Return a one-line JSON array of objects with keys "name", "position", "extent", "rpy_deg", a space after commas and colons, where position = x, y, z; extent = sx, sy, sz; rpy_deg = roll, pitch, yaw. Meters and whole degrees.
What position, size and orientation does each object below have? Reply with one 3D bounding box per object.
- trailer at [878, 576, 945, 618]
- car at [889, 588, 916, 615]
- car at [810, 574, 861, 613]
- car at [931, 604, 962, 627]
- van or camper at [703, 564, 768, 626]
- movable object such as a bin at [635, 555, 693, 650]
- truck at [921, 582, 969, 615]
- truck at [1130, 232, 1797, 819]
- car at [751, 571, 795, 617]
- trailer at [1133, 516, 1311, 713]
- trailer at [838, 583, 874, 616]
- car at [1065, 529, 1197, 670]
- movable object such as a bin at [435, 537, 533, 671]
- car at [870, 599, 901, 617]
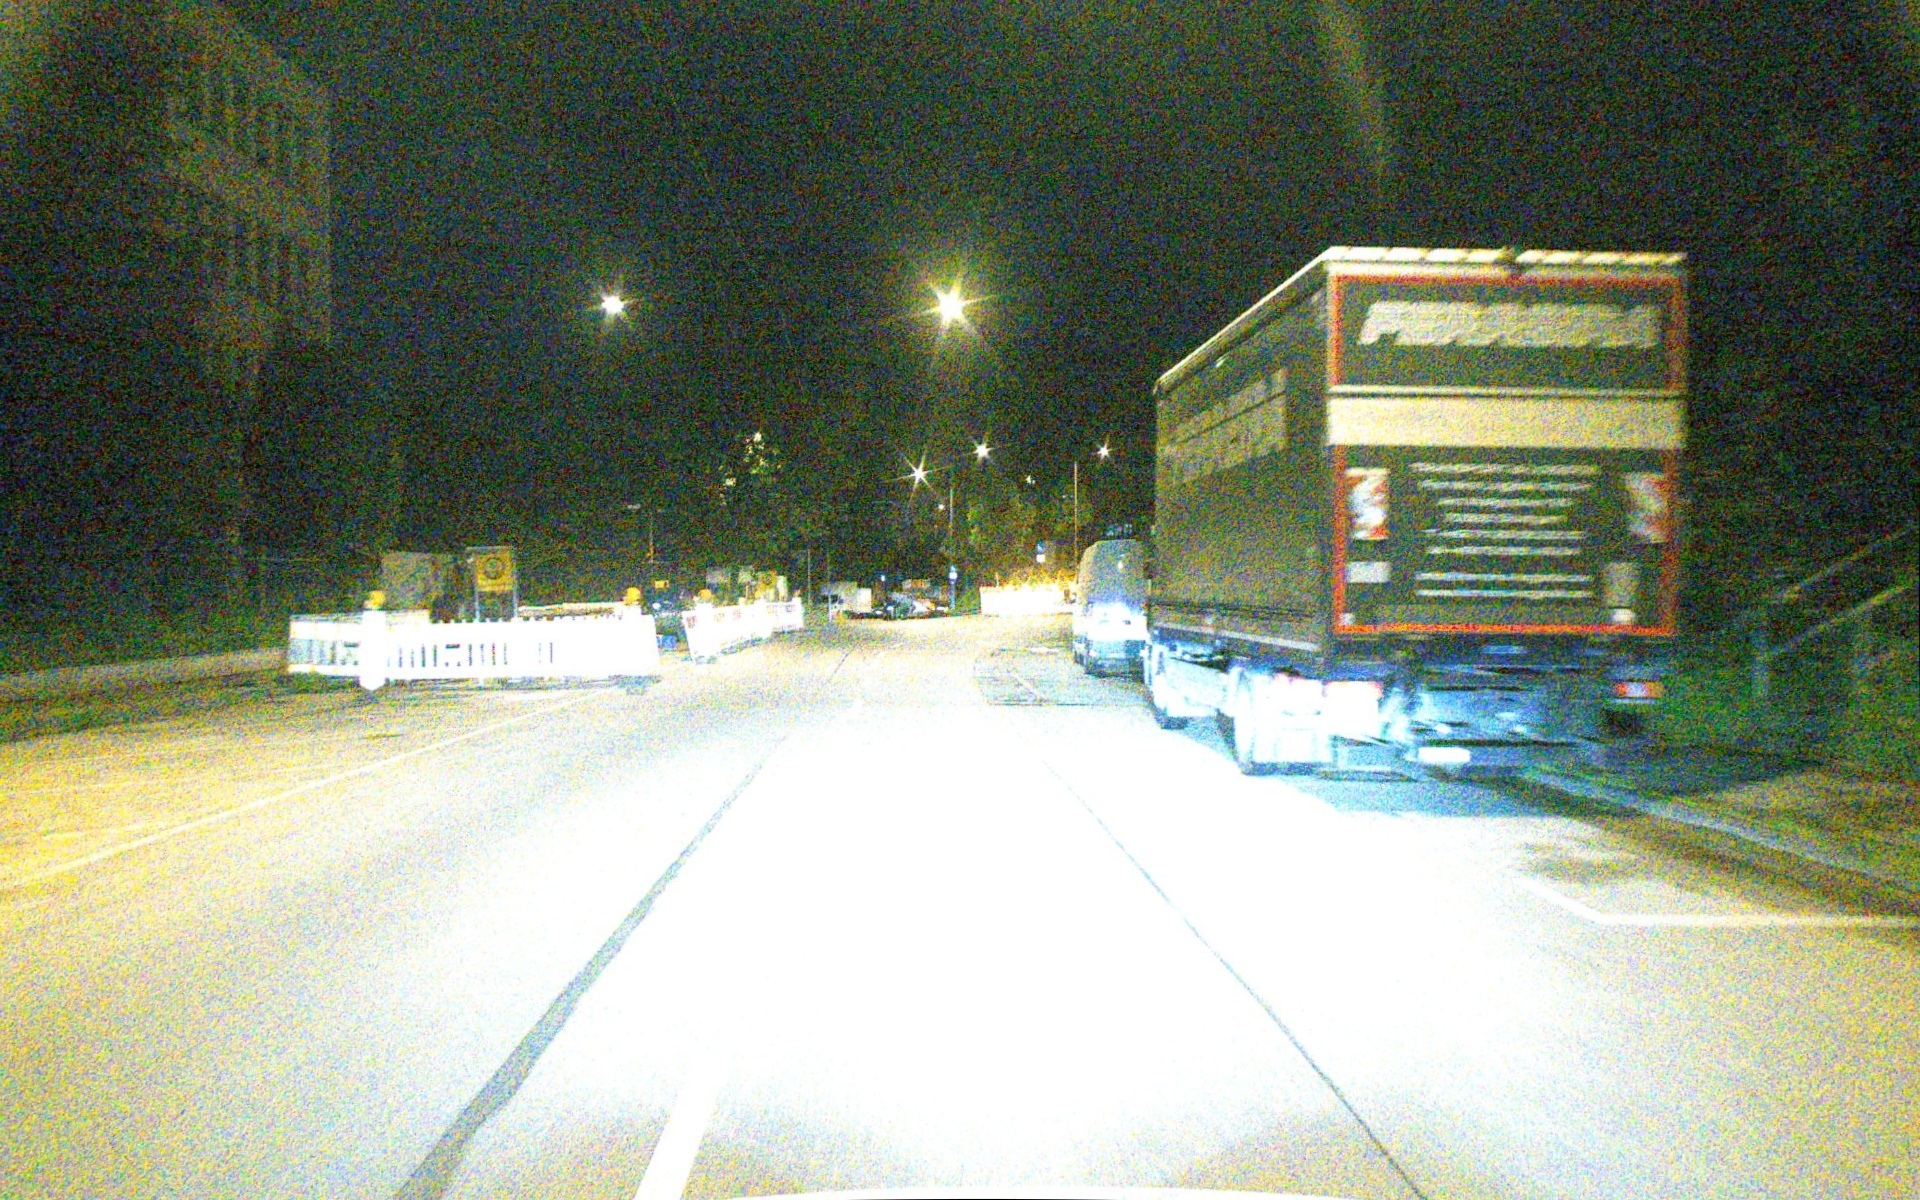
[{"name": "trailer", "position": [-2.770, -0.132, 92.848], "extent": [1.542, 2.198, 5.171], "rpy_deg": [-2, -1, -29]}, {"name": "car", "position": [-3.757, 0.105, 107.781], "extent": [1.686, 1.690, 3.998], "rpy_deg": [1, -1, -1]}, {"name": "car", "position": [-10.707, -0.538, 142.802], "extent": [2.465, 3.226, 7.144], "rpy_deg": [-2, 0, 11]}, {"name": "car", "position": [-1.104, 1.281, 136.327], "extent": [1.684, 1.853, 4.003], "rpy_deg": [0, -1, 13]}, {"name": "van or camper", "position": [-12.103, -0.243, 89.590], "extent": [2.468, 3.148, 7.444], "rpy_deg": [-2, 0, -1]}, {"name": "movable object such as a bin", "position": [-9.259, 0.056, 51.932], "extent": [1.541, 2.781, 3.694], "rpy_deg": [-3, 1, -9]}, {"name": "truck", "position": [-1.554, -0.159, 178.669], "extent": [1.953, 3.463, 8.979], "rpy_deg": [1, 1, 22]}, {"name": "truck", "position": [3.898, -0.491, 15.836], "extent": [3.257, 3.936, 9.324], "rpy_deg": [0, 0, -2]}, {"name": "car", "position": [-12.846, -0.351, 114.117], "extent": [2.469, 2.978, 7.196], "rpy_deg": [-2, 0, -3]}, {"name": "trailer", "position": [3.631, 0.161, 23.764], "extent": [1.599, 2.517, 5.026], "rpy_deg": [1, 1, -2]}, {"name": "trailer", "position": [-9.355, -0.067, 148.893], "extent": [1.951, 2.862, 4.707], "rpy_deg": [-1, 0, 13]}, {"name": "car", "position": [3.323, -0.038, 33.395], "extent": [2.065, 2.560, 6.372], "rpy_deg": [1, 1, 1]}, {"name": "movable object such as a bin", "position": [-9.458, 0.082, 32.789], "extent": [1.527, 2.510, 2.820], "rpy_deg": [-1, 0, -22]}, {"name": "car", "position": [-7.218, 0.786, 160.308], "extent": [1.951, 1.729, 4.209], "rpy_deg": [0, -1, 13]}]
